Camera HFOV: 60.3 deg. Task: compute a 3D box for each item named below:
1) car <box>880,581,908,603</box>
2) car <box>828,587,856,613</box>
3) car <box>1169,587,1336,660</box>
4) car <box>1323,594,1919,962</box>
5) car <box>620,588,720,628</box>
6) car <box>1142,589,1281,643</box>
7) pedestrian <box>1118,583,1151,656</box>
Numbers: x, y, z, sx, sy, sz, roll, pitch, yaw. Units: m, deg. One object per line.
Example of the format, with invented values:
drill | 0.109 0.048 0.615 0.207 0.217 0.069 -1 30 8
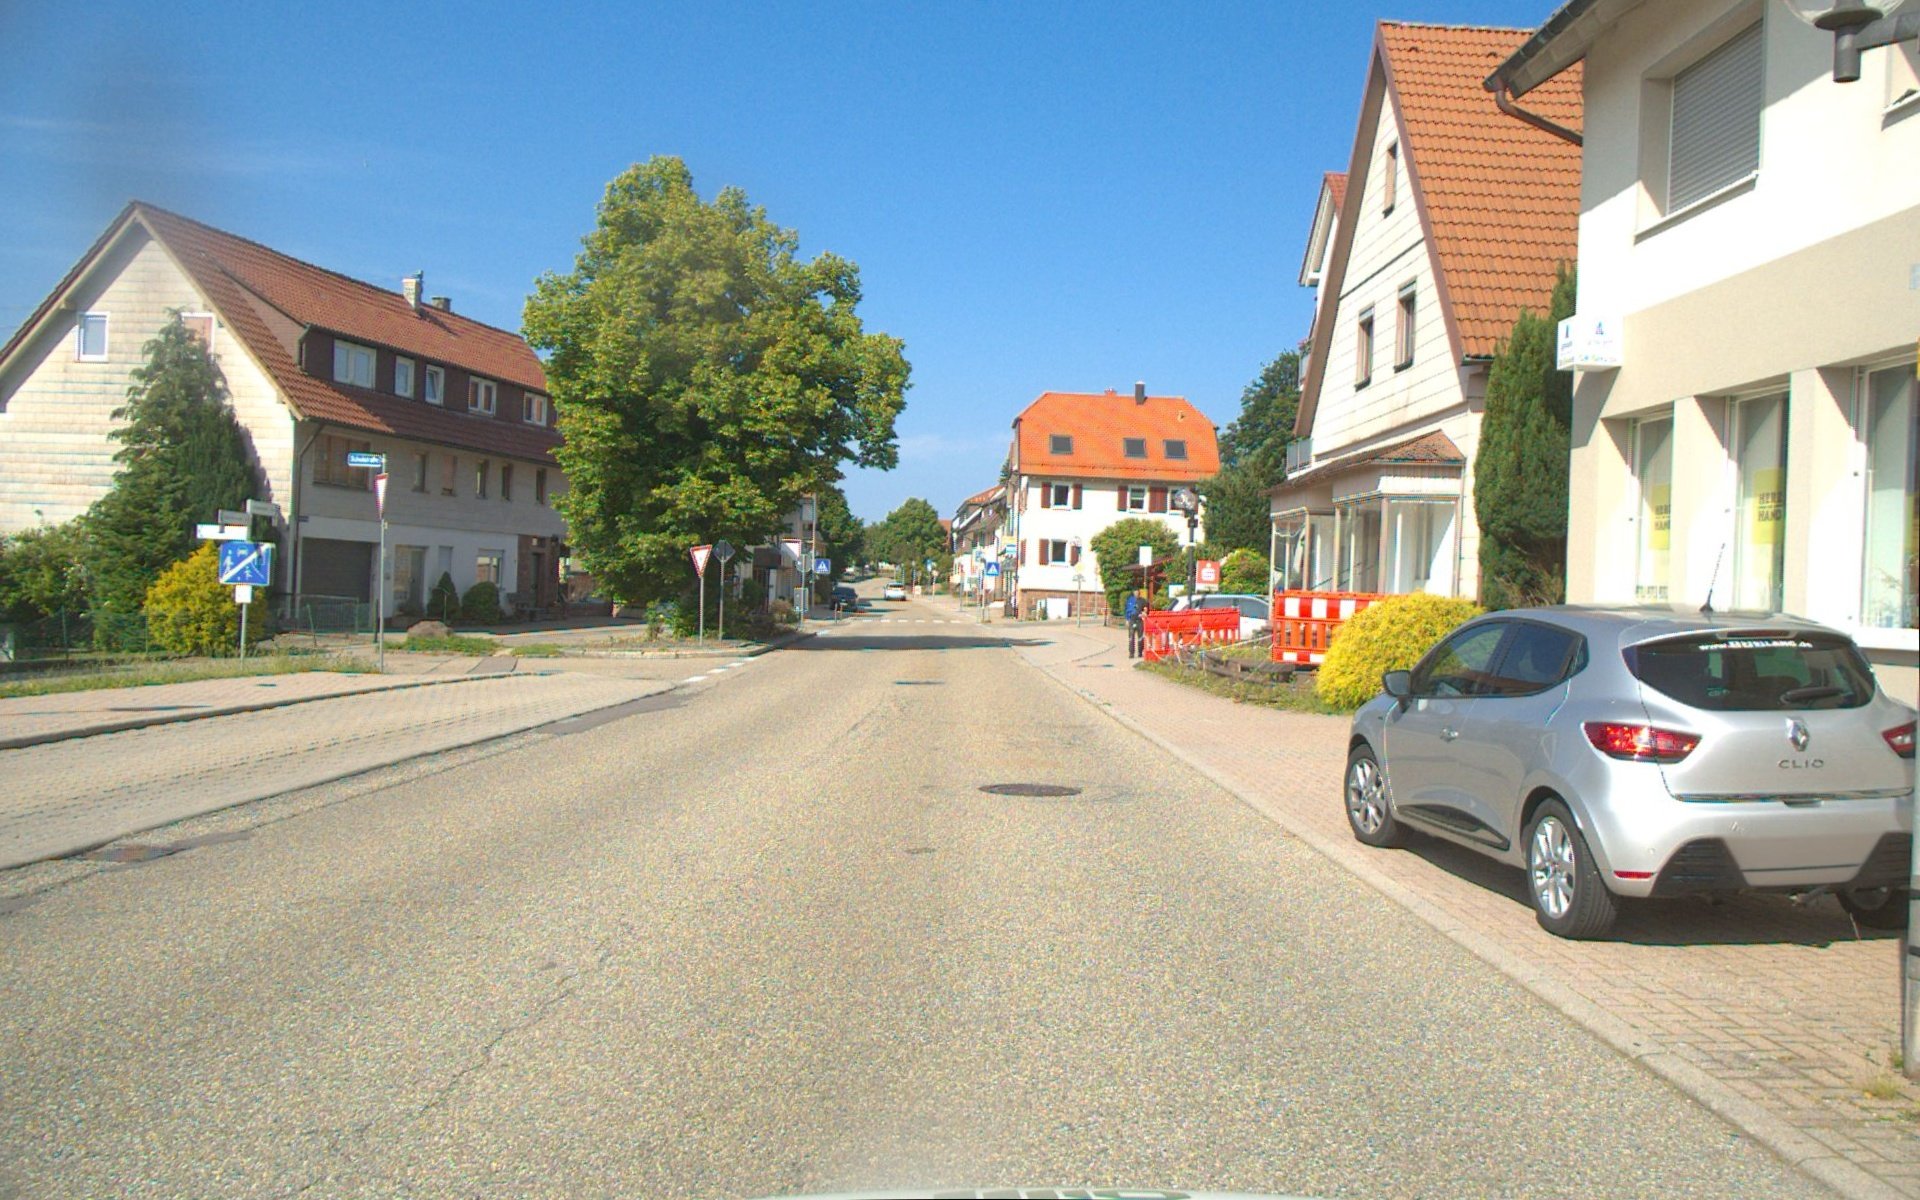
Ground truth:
car | -6.396 -0.795 159.820 2.446 2.049 4.300 -1 0 -4
car | -8.107 -0.010 114.286 1.639 1.559 3.534 5 0 -1
car | 6.926 0.529 39.149 3.779 1.585 1.965 1 1 12
car | 3.316 0.714 8.739 1.603 1.444 3.931 -1 0 -5
car | -12.011 0.350 68.568 3.679 1.480 1.819 -1 -5 11
car | 7.526 0.474 49.760 3.904 1.575 1.881 0 0 1
pedestrian | 4.367 0.471 41.537 0.782 1.815 0.980 0 0 4
